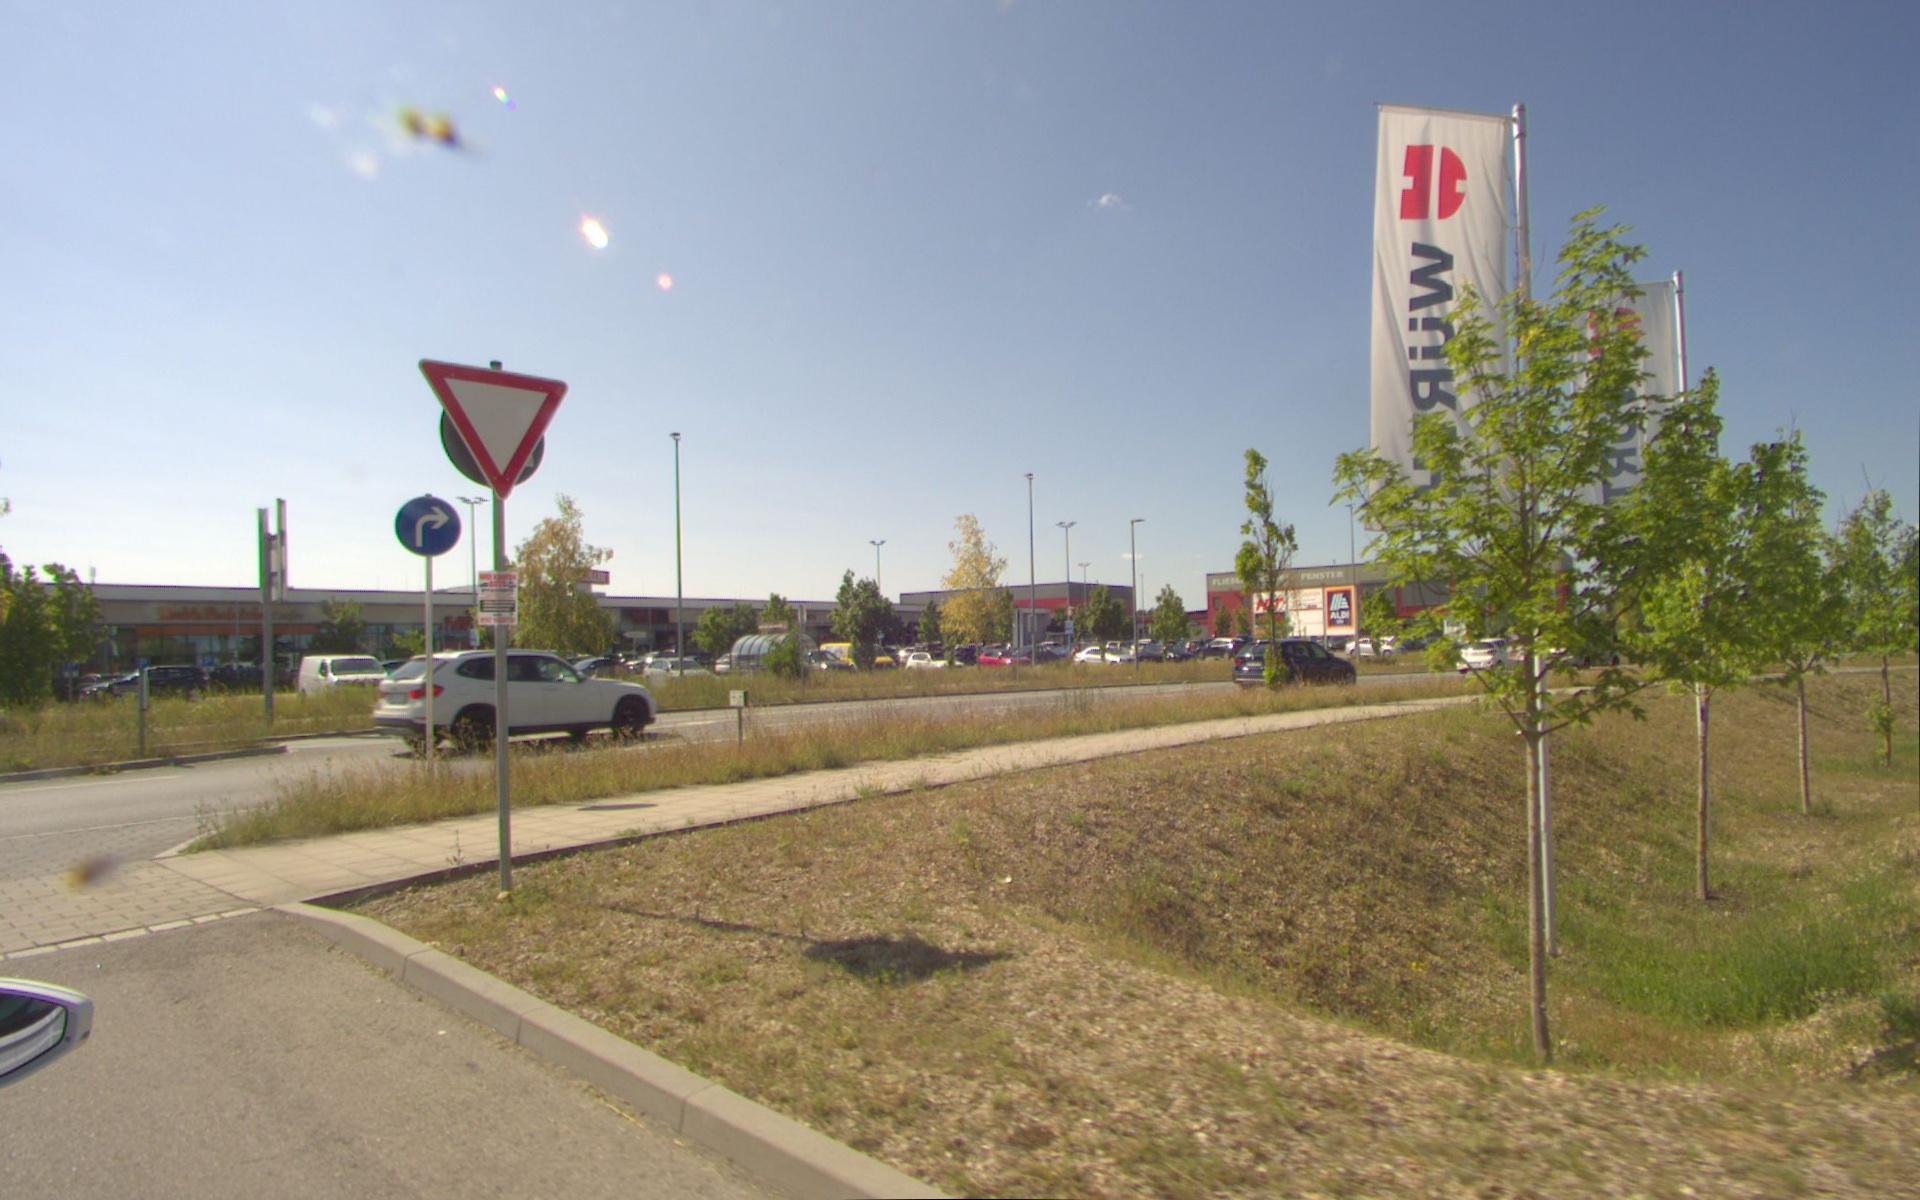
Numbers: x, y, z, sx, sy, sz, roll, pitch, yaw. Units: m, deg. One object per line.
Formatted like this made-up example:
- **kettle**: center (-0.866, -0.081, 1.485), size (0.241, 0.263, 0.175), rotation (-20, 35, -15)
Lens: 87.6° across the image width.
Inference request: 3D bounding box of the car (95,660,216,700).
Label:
- **car**: center (-34.582, 3.395, 43.099), size (1.710, 1.527, 3.782), rotation (-3, -3, 36)

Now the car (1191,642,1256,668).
- **car**: center (19.373, 4.101, 73.711), size (1.973, 1.782, 4.461), rotation (0, -4, -33)

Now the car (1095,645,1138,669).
- **car**: center (14.227, 5.136, 91.013), size (1.975, 2.062, 4.457), rotation (-4, -4, 36)

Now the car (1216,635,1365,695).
- **car**: center (9.511, 1.831, 28.711), size (4.335, 1.570, 1.902), rotation (1, -4, -37)

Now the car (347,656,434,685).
- **car**: center (-30.539, 3.794, 53.790), size (1.708, 1.408, 3.712), rotation (-3, -3, 33)

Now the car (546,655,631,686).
- **car**: center (-20.252, 3.837, 54.650), size (1.852, 1.526, 3.973), rotation (-4, -4, 37)

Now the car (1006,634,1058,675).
- **car**: center (5.278, 3.924, 72.833), size (1.971, 2.856, 4.465), rotation (-3, -3, 30)

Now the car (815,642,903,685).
- **car**: center (-5.195, 3.216, 50.887), size (2.138, 2.039, 5.081), rotation (0, -3, -37)

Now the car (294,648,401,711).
- **car**: center (-21.765, 2.785, 35.483), size (5.177, 2.039, 2.069), rotation (-4, -3, 44)

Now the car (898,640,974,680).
- **car**: center (-1.329, 3.226, 54.083), size (1.921, 2.038, 4.380), rotation (1, -3, -37)

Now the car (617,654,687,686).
- **car**: center (-21.863, 4.976, 71.223), size (1.978, 2.149, 4.450), rotation (-4, -4, 40)

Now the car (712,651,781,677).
- **car**: center (-13.687, 4.072, 64.335), size (1.636, 1.538, 4.320), rotation (-4, -4, 38)

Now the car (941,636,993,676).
- **car**: center (0.558, 4.221, 75.527), size (1.971, 2.856, 4.465), rotation (-3, -3, 30)

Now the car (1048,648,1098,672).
- **car**: center (8.834, 4.647, 77.922), size (1.975, 1.806, 4.289), rotation (-4, -4, 36)

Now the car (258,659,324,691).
- **car**: center (-39.420, 4.406, 58.956), size (3.948, 1.728, 1.988), rotation (-3, -3, 36)

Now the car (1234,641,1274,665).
- **car**: center (26.306, 4.695, 89.531), size (1.975, 2.062, 4.457), rotation (-4, -4, 36)

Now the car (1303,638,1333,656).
- **car**: center (41.575, 5.422, 116.228), size (1.975, 2.062, 4.457), rotation (-4, -4, 36)

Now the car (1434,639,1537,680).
- **car**: center (22.290, 2.500, 42.416), size (4.701, 1.570, 1.935), rotation (1, -4, -36)

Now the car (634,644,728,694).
- **car**: center (-12.462, 3.050, 44.492), size (2.140, 2.039, 5.077), rotation (0, -3, -39)

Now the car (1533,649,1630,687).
- **car**: center (29.112, 3.163, 46.872), size (4.696, 1.570, 1.937), rotation (0, -4, -32)

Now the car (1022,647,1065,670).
- **car**: center (7.990, 5.564, 95.158), size (1.975, 2.062, 4.457), rotation (-4, -4, 36)

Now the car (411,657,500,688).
- **car**: center (-25.515, 3.641, 50.735), size (1.708, 1.408, 3.712), rotation (-3, -3, 33)

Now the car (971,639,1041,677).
- **car**: center (2.593, 3.285, 56.929), size (1.859, 2.038, 4.113), rotation (1, -3, -35)

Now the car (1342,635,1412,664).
- **car**: center (31.664, 3.745, 76.132), size (1.979, 2.062, 4.447), rotation (1, -4, -42)

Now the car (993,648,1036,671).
- **car**: center (5.272, 5.727, 96.570), size (1.975, 2.062, 4.457), rotation (-4, -4, 36)

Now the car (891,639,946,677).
- **car**: center (-3.227, 4.538, 79.013), size (1.975, 2.856, 4.457), rotation (-4, -4, 36)

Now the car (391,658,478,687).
- **car**: center (-27.693, 3.808, 52.816), size (1.708, 1.408, 3.712), rotation (-3, -3, 33)

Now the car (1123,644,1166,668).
- **car**: center (16.550, 4.980, 89.530), size (1.975, 2.062, 4.457), rotation (-4, -4, 36)

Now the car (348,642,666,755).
- **car**: center (-7.206, 1.501, 16.411), size (1.719, 1.570, 4.545), rotation (-4, -4, 34)

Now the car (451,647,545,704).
- **car**: center (-18.142, 2.902, 39.199), size (2.140, 2.039, 5.077), rotation (0, -3, -39)

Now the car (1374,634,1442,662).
- **car**: center (35.475, 3.822, 79.304), size (1.979, 2.062, 4.447), rotation (1, -4, -42)

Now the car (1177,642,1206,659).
- **car**: center (28.972, 6.318, 125.148), size (1.975, 2.062, 4.457), rotation (-4, -4, 36)

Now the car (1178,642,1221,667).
- **car**: center (20.702, 4.669, 86.325), size (1.975, 2.062, 4.457), rotation (-4, -4, 36)

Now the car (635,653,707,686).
- **car**: center (-19.975, 4.815, 69.271), size (1.978, 2.128, 4.450), rotation (-4, -4, 40)

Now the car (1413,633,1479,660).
- **car**: center (39.992, 3.879, 82.501), size (1.979, 2.062, 4.447), rotation (1, -4, -42)

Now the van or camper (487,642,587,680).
- **van or camper**: center (-24.447, 3.520, 58.016), size (1.976, 2.039, 5.017), rotation (-3, -3, 38)

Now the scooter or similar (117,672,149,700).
- **scooter or similar**: center (-33.976, 3.522, 41.135), size (0.645, 1.093, 0.939), rotation (-3, -2, 41)
